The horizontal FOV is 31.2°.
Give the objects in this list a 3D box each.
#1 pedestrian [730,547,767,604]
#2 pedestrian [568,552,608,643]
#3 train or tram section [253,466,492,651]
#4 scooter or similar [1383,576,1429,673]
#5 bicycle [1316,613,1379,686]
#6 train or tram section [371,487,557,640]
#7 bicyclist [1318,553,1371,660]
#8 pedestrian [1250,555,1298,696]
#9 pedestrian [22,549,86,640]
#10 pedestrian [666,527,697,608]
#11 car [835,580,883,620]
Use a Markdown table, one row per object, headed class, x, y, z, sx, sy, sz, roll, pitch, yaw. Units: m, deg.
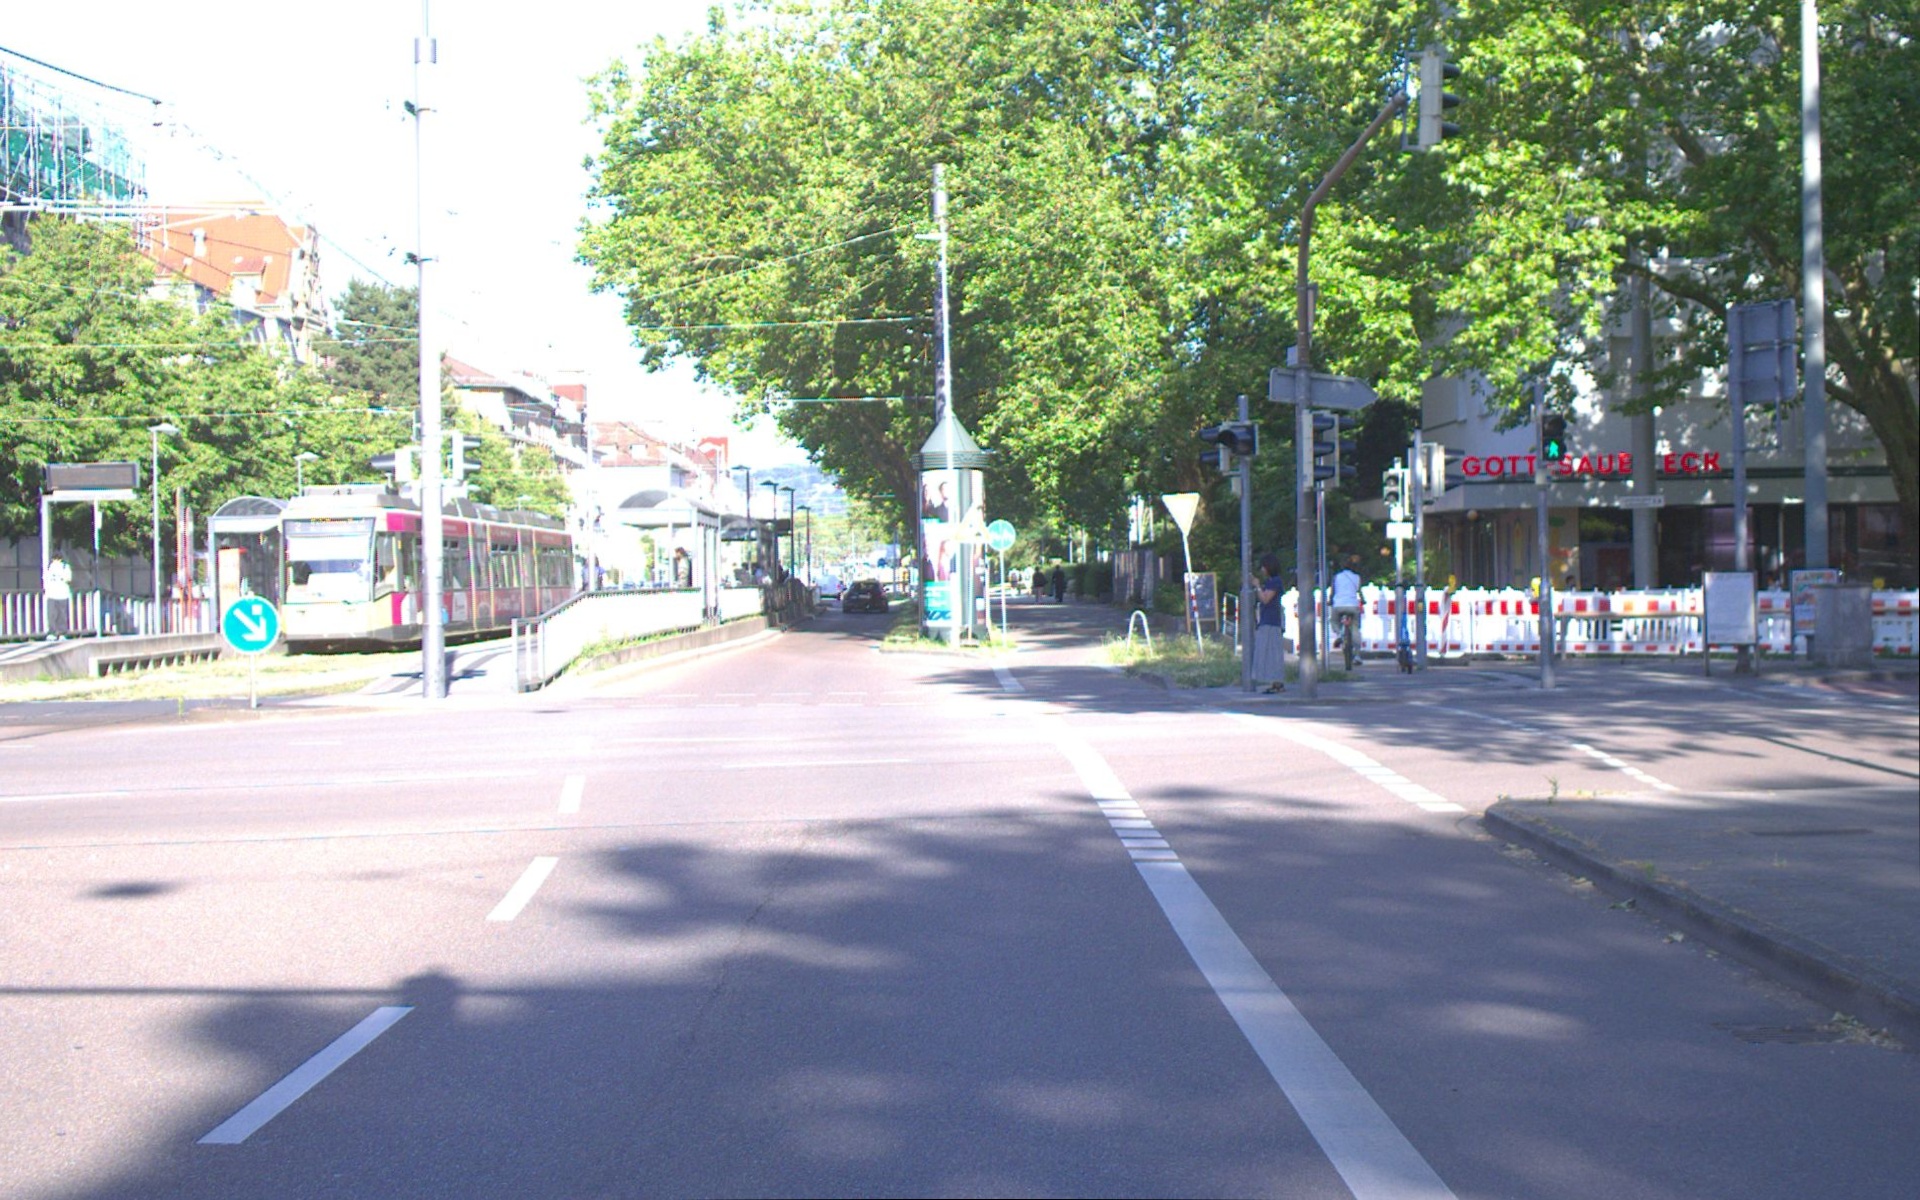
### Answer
| class | x | y | z | sx | sy | sz | roll | pitch | yaw |
| --- | --- | --- | --- | --- | --- | --- | --- | --- | --- |
| pedestrian | -6.439 | -0.746 | 104.804 | 0.907 | 1.716 | 0.631 | 1 | 0 | -34 |
| pedestrian | -6.671 | -0.050 | 61.661 | 0.629 | 1.604 | 0.982 | 1 | 0 | -2 |
| train or tram section | -12.770 | -0.869 | 76.245 | 2.869 | 3.663 | 14.561 | -1 | 0 | -1 |
| scooter or similar | 5.939 | 0.315 | 45.753 | 0.560 | 1.253 | 1.289 | -2 | 0 | 8 |
| bicycle | 5.680 | 0.714 | 50.458 | 0.603 | 1.023 | 1.767 | -1 | 0 | -4 |
| train or tram section | -12.905 | -0.931 | 90.829 | 2.869 | 3.673 | 14.561 | -1 | 0 | -1 |
| bicyclist | 5.657 | 0.097 | 50.589 | 0.603 | 1.545 | 0.860 | -1 | 0 | -4 |
| pedestrian | 3.667 | 0.292 | 40.199 | 0.427 | 1.633 | 0.613 | 0 | 1 | -8 |
| pedestrian | -15.997 | -0.103 | 60.716 | 0.899 | 1.575 | 0.958 | 1 | 0 | -3 |
| pedestrian | -6.577 | -0.762 | 81.215 | 0.669 | 1.896 | 0.824 | 1 | 0 | -1 |
| car | -4.354 | -0.008 | 149.126 | 1.993 | 1.678 | 4.000 | 1 | 0 | -1 |
